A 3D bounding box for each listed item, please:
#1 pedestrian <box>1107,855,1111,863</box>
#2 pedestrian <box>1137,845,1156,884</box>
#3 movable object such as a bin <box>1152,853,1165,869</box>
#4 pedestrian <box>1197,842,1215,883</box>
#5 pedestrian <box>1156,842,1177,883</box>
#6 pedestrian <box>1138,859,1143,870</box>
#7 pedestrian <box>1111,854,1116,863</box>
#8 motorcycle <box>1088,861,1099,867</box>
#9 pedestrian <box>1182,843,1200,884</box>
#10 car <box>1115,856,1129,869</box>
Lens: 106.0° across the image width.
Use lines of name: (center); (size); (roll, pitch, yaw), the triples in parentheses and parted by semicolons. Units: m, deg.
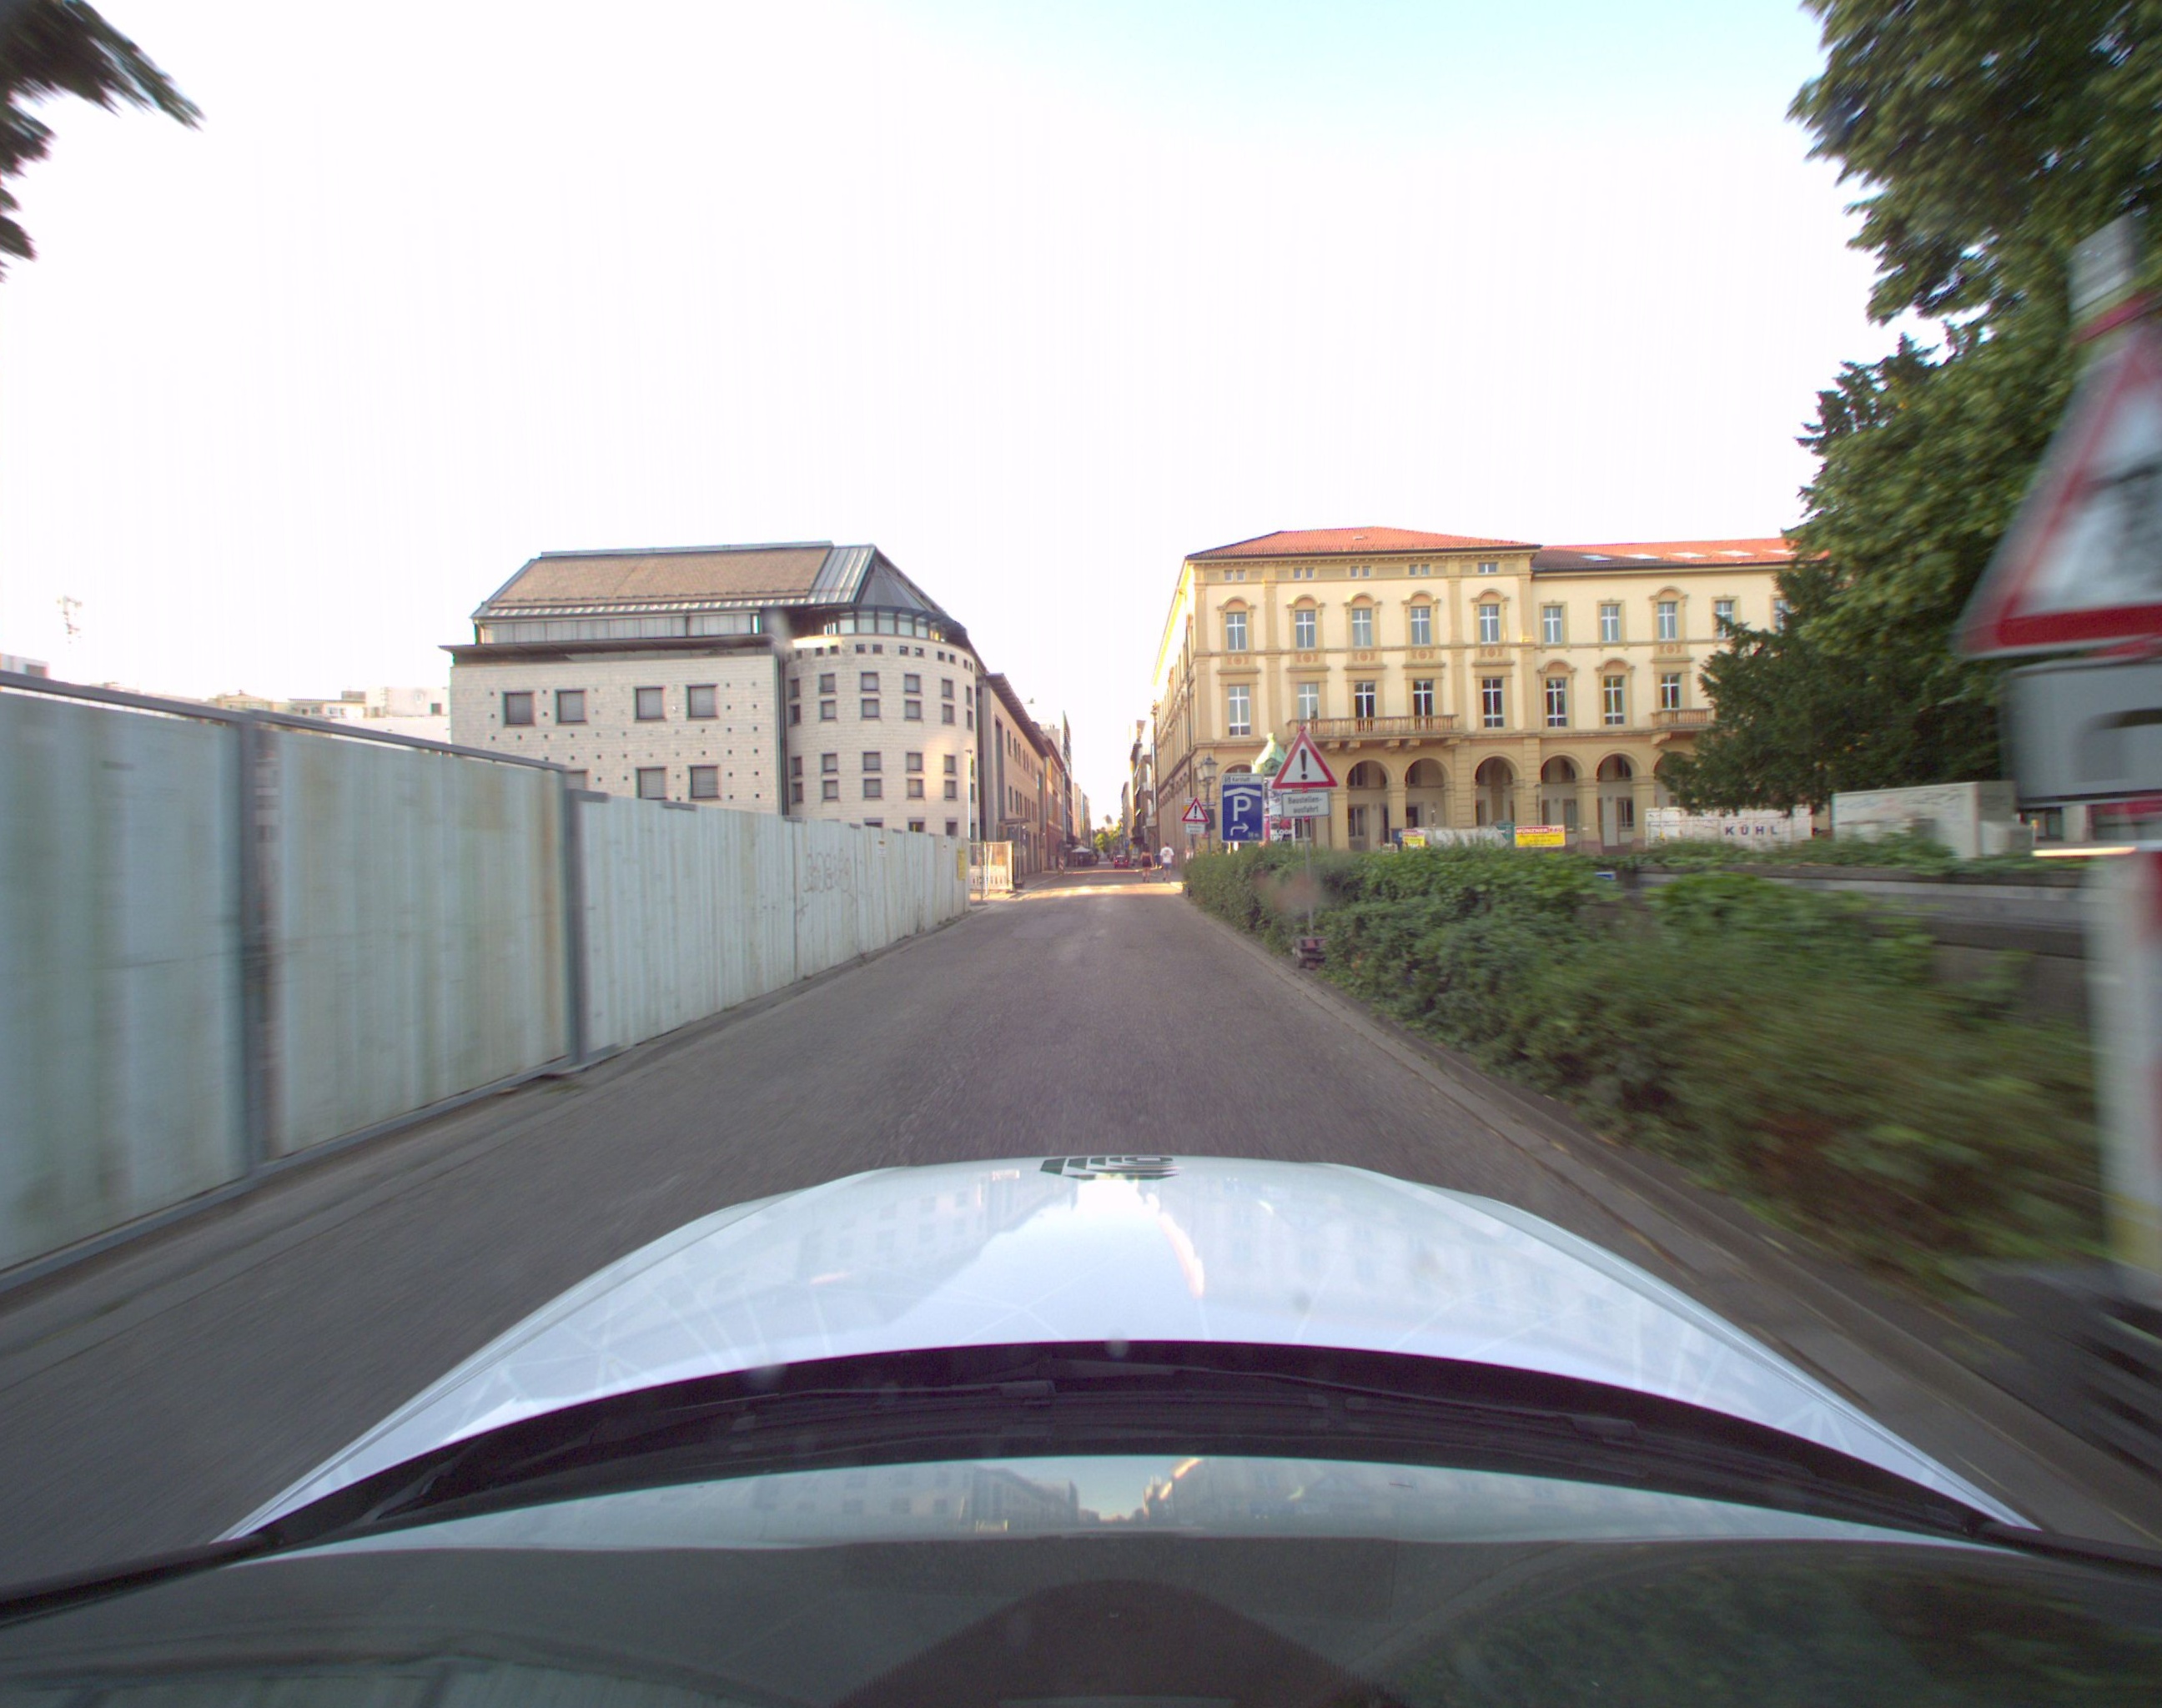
pedestrian: (6.118, 1.170, 176.359); (0.801, 1.672, 0.889); (-2, -1, 3)
pedestrian: (3.036, 0.499, 37.777); (0.773, 1.746, 0.875); (-2, -1, 1)
movable object such as a bin: (7.141, 0.612, 74.957); (0.987, 1.392, 1.241); (-3, 0, 1)
pedestrian: (5.627, 0.386, 36.603); (0.634, 1.803, 0.772); (-2, -1, 1)
pedestrian: (3.999, 0.404, 38.054); (0.809, 1.875, 0.875); (-2, -1, 1)
pedestrian: (8.063, 1.421, 110.808); (0.654, 1.487, 0.493); (-2, -1, 3)
pedestrian: (6.162, 0.938, 155.115); (0.862, 1.713, 0.852); (-2, -1, 1)
motorcycle: (2.085, 1.635, 135.953); (1.797, 0.875, 0.560); (-2, -1, -3)
pedestrian: (4.957, 0.406, 36.598); (0.634, 1.803, 0.772); (-2, -1, 1)
car: (4.806, 0.978, 95.951); (1.643, 1.427, 3.537); (1, 0, 2)
